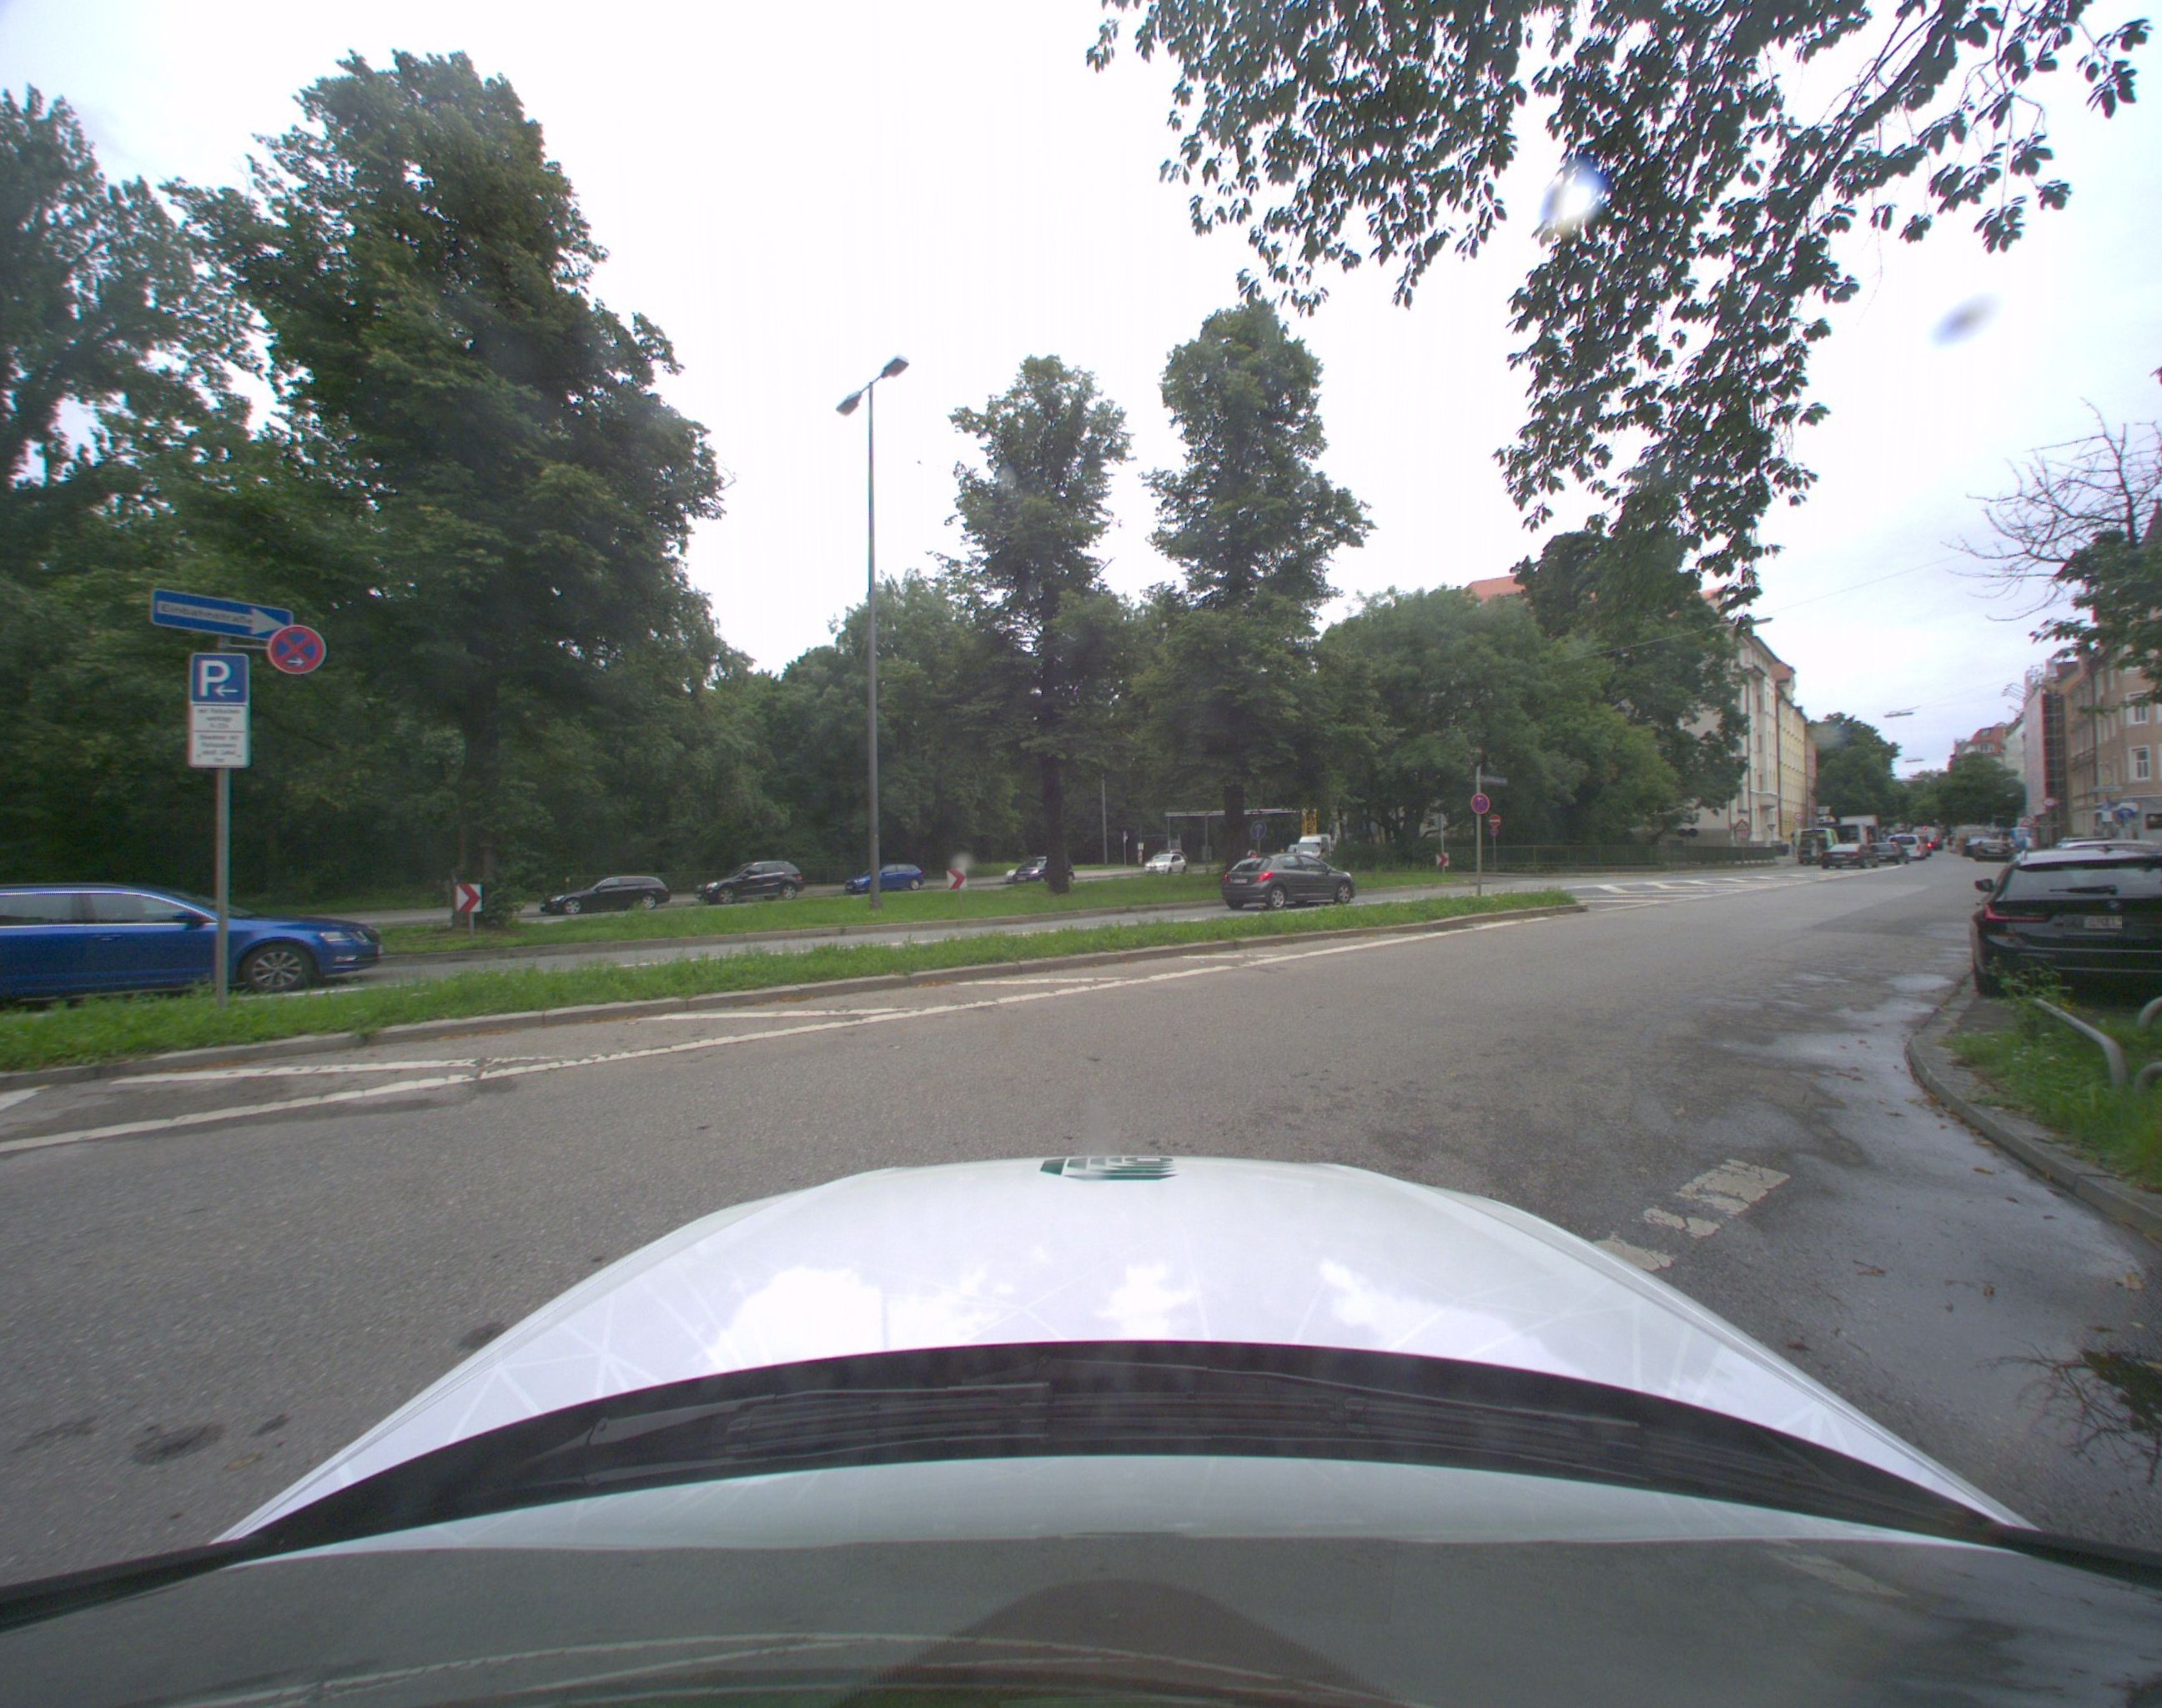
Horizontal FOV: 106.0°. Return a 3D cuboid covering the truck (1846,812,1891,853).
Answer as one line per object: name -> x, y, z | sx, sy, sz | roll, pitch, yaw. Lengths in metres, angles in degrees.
truck -> 78.957, -2.082, 81.625 | 7.036, 3.951, 2.985 | -1, 0, -44

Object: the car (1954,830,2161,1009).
car -> 10.600, 0.542, 8.438 | 4.398, 1.497, 1.776 | -1, -3, -40

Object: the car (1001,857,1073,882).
car -> -2.725, 0.945, 51.052 | 1.974, 1.446, 4.452 | -3, -1, 39

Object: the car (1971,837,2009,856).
car -> 73.722, -0.638, 66.060 | 4.331, 1.429, 1.828 | -2, 4, -44

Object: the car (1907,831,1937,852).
car -> 83.688, -1.242, 81.012 | 4.023, 2.014, 1.975 | -1, -1, -43

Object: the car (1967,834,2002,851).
car -> 79.601, -1.029, 71.767 | 4.163, 1.429, 1.972 | -2, 1, -42

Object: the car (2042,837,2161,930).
car -> 18.683, 0.465, 14.673 | 3.839, 1.496, 1.614 | -1, -2, -39

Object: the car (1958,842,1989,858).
car -> 86.203, -0.408, 78.701 | 4.163, 1.429, 1.972 | -2, 1, -42

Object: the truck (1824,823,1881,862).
truck -> 62.084, -0.947, 65.490 | 7.241, 2.873, 2.749 | -2, 0, -42

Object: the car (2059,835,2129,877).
car -> 43.714, 0.079, 35.179 | 4.730, 1.679, 1.742 | -1, -2, -39

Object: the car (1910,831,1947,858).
car -> 68.963, -0.794, 66.233 | 4.023, 2.013, 1.976 | -2, 1, -43

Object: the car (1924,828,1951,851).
car -> 95.510, -1.584, 90.800 | 4.808, 2.480, 1.923 | -1, 0, -41

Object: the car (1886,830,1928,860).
car -> 61.406, -0.701, 60.533 | 4.163, 2.075, 1.972 | -2, 0, -42

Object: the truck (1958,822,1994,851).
truck -> 98.383, -1.911, 89.612 | 5.358, 2.973, 2.469 | -1, -1, -43

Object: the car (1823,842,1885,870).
car -> 44.960, 0.096, 47.334 | 4.930, 1.429, 1.973 | -2, 0, -39

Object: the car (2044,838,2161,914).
car -> 22.245, 0.436, 17.665 | 3.805, 1.496, 1.614 | -1, -2, -39

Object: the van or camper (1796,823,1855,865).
van or camper -> 54.405, -0.756, 59.448 | 6.220, 2.840, 2.577 | -2, 0, -42

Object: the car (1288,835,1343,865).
car -> 18.359, -0.305, 63.575 | 2.278, 2.270, 5.161 | -2, -1, 39

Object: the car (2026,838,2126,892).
car -> 29.934, 0.311, 24.530 | 4.509, 1.496, 1.742 | -1, -2, -39

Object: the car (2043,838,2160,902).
car -> 26.109, 0.376, 20.898 | 4.456, 1.496, 1.676 | -1, -2, -39

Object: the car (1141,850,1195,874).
car -> 6.887, 0.599, 64.378 | 1.974, 1.718, 4.678 | -3, -1, 39

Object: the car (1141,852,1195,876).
car -> 5.733, 0.656, 53.127 | 1.810, 1.446, 4.263 | -3, -1, 32

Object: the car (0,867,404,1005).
car -> -11.778, 0.945, 10.307 | 4.754, 1.454, 1.972 | -1, -1, -35

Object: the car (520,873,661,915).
car -> -19.255, 1.544, 32.103 | 1.974, 1.446, 4.345 | -3, -1, 40

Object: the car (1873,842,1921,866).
car -> 53.024, -0.001, 52.896 | 4.163, 1.429, 1.972 | -2, 1, -42

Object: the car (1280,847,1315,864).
car -> 19.880, 0.114, 74.603 | 1.873, 1.446, 4.326 | -2, 0, 31

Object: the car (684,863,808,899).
car -> -15.011, 1.178, 36.704 | 1.974, 1.446, 4.798 | -3, -1, 40

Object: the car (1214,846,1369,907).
car -> 5.701, 0.561, 21.876 | 4.090, 1.461, 1.746 | -1, -1, -34

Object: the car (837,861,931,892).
car -> -10.231, 1.172, 42.556 | 1.974, 1.446, 4.452 | -3, -1, 39

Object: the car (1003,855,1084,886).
car -> -1.845, 0.803, 41.478 | 1.873, 1.446, 4.059 | -2, 0, 39

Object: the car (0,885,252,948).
car -> -27.134, 1.712, 23.428 | 4.551, 1.446, 1.975 | -1, -1, -44

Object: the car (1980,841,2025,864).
car -> 63.351, -0.141, 56.030 | 4.208, 1.429, 1.828 | -2, 4, -44
